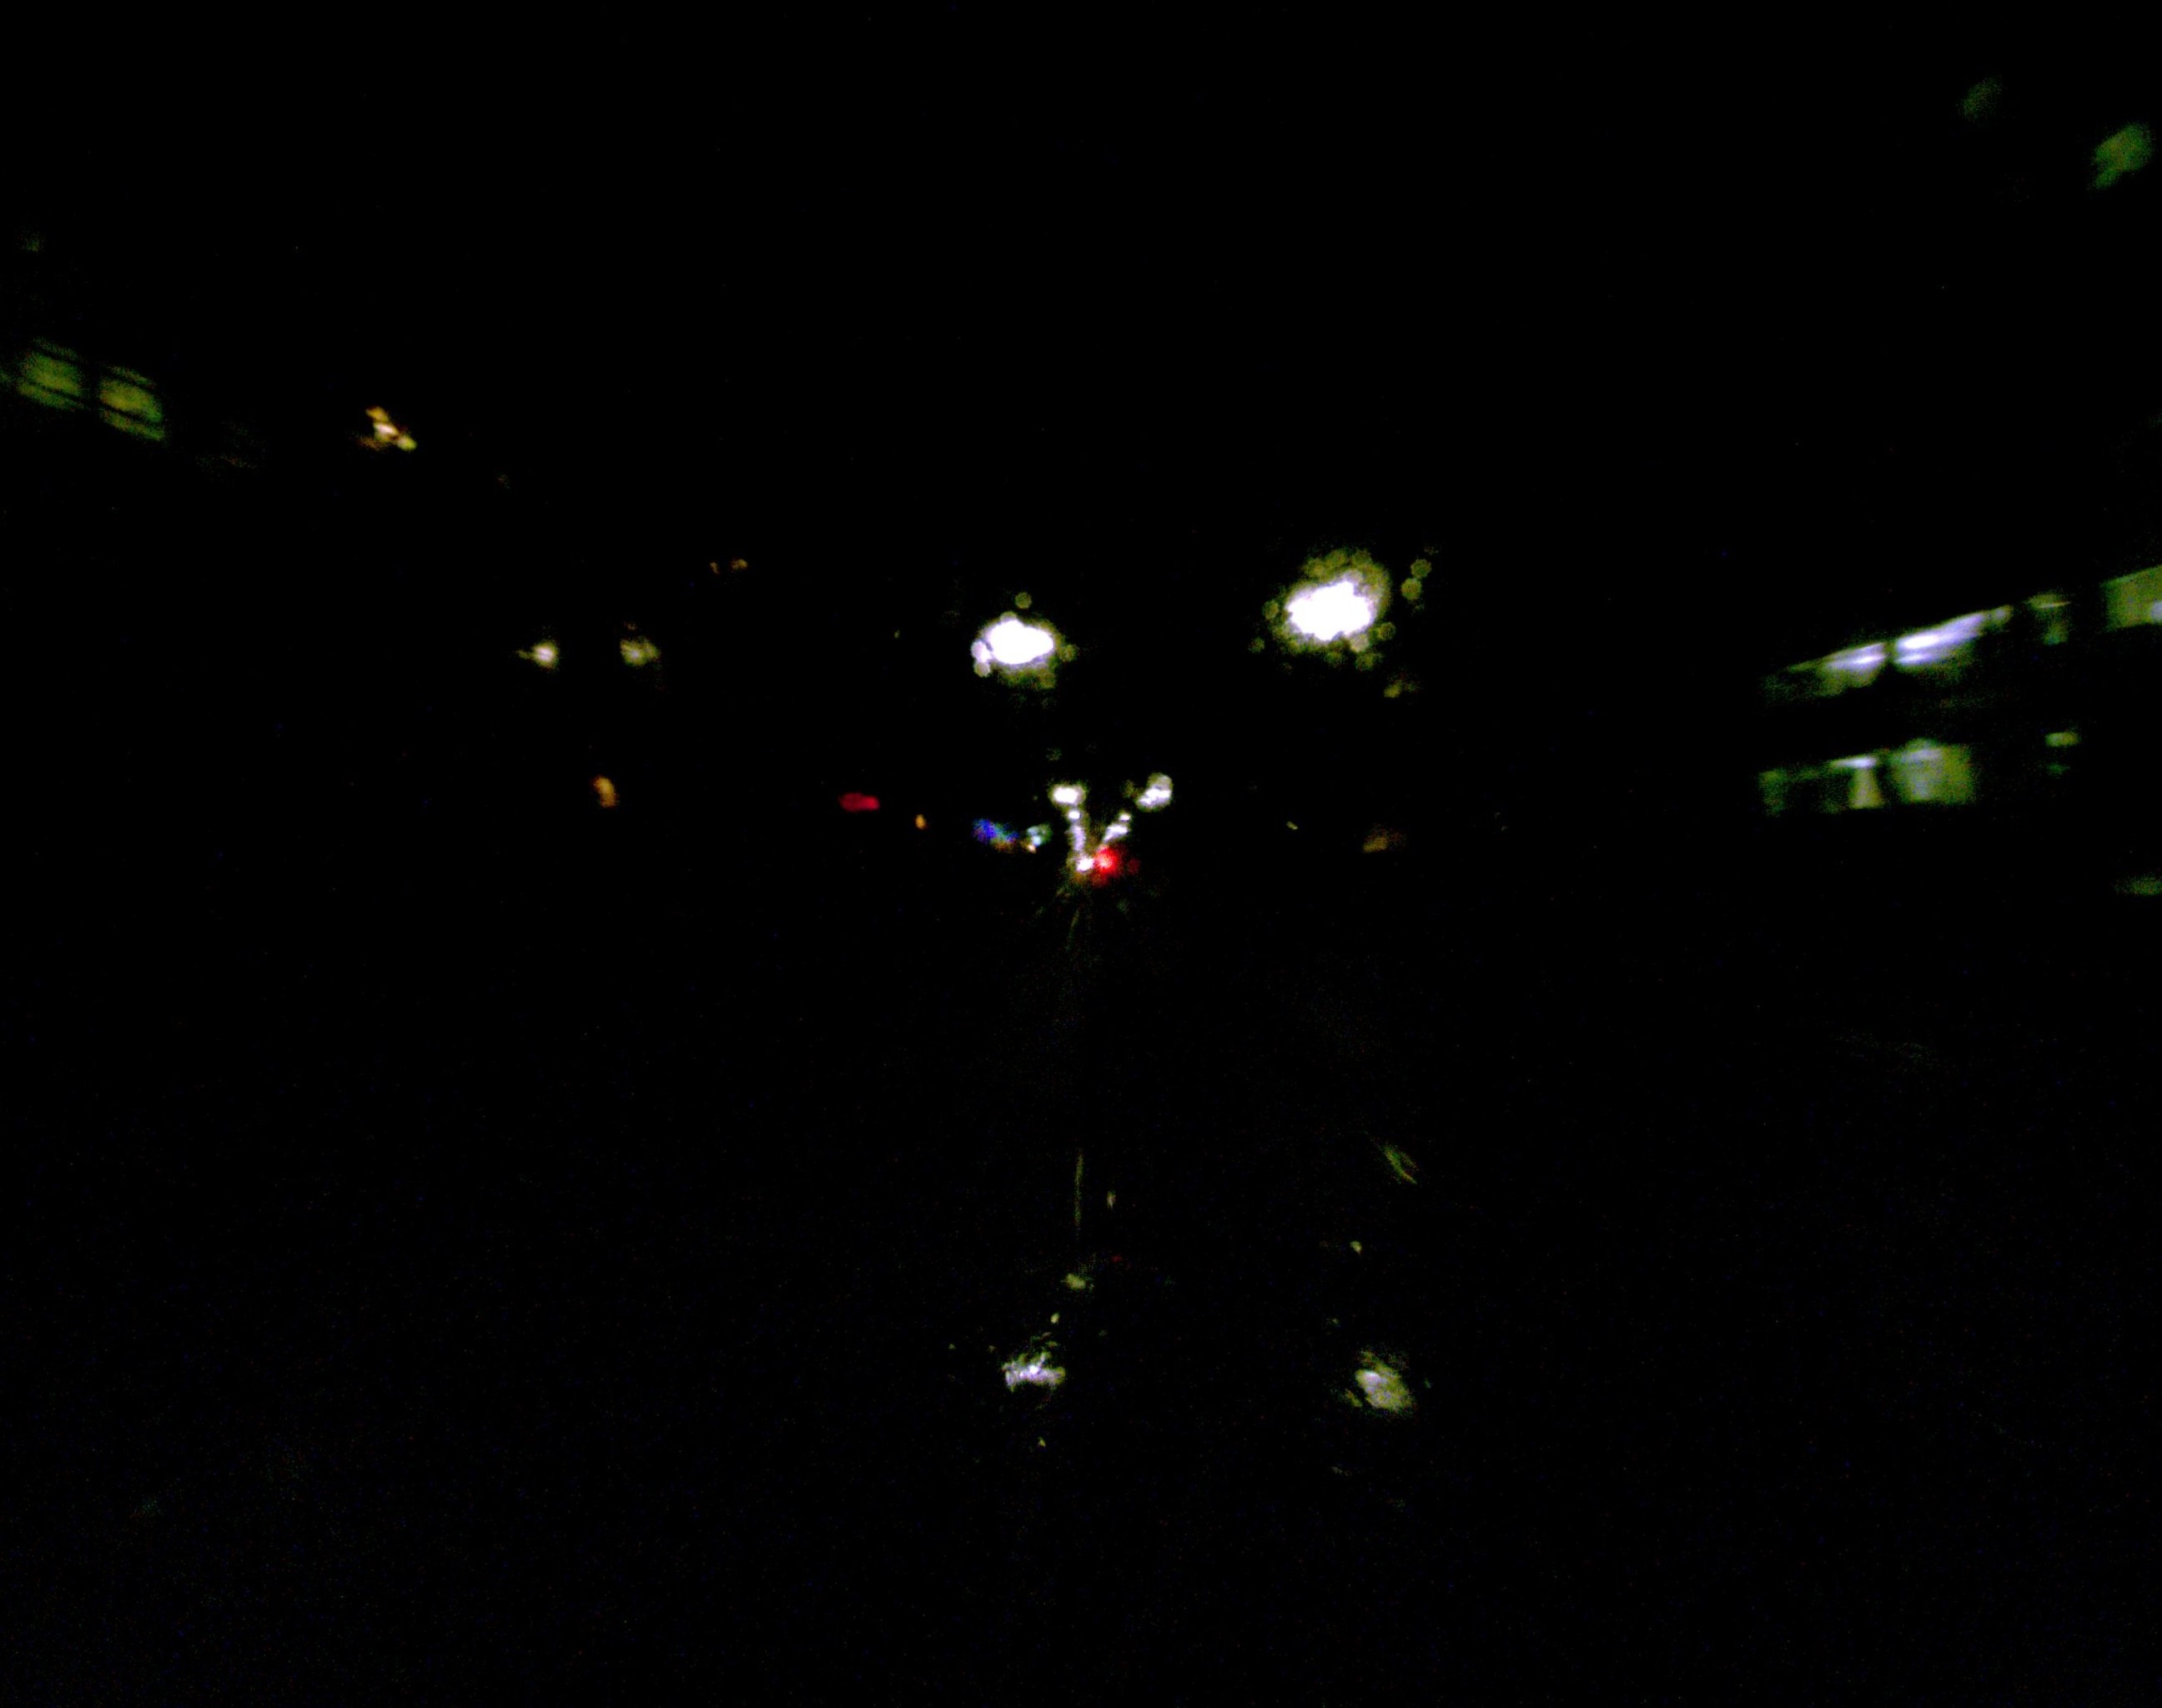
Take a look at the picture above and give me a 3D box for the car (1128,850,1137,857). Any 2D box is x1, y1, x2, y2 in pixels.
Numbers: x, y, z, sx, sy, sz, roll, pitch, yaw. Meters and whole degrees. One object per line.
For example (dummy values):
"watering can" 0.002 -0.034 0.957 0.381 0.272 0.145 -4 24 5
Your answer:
"car" 11.275 -0.210 165.934 1.735 1.430 4.625 -2 1 1

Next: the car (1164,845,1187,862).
"car" 10.032 -0.043 81.084 1.974 1.646 4.601 -4 1 2

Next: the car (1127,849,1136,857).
"car" 11.719 -0.208 176.609 1.814 1.569 4.353 -5 0 1

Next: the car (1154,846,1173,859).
"car" 10.719 -0.237 99.470 1.988 1.622 4.516 -2 1 1

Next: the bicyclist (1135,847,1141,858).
"bicyclist" 9.155 -0.245 122.297 0.784 1.646 1.206 0 1 1

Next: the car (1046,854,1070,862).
"car" -4.669 0.805 157.231 4.604 1.467 1.837 -1 0 -19

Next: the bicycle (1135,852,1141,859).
"bicycle" 9.152 0.300 122.312 0.784 1.076 1.918 0 1 1

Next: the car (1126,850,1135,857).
"car" 12.073 -0.132 185.586 1.723 1.447 3.950 -2 1 0

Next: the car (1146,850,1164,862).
"car" 10.969 0.324 113.075 1.885 1.536 4.398 -5 1 -2

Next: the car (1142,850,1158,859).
"car" 11.334 0.078 125.413 1.893 1.454 4.958 -1 1 -4

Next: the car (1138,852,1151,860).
"car" 11.335 0.346 135.880 1.845 1.415 4.208 -1 1 -2

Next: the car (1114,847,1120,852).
"car" 12.308 -1.502 261.028 1.693 1.566 3.918 -2 1 1

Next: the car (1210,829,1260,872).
"car" 10.046 -0.206 50.113 2.190 2.576 6.393 -2 0 3

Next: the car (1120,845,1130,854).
"car" 12.668 -1.329 218.919 2.248 2.494 5.259 -4 1 -2

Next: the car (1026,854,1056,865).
"car" -6.212 0.902 118.508 4.110 1.528 1.956 -2 1 -24
